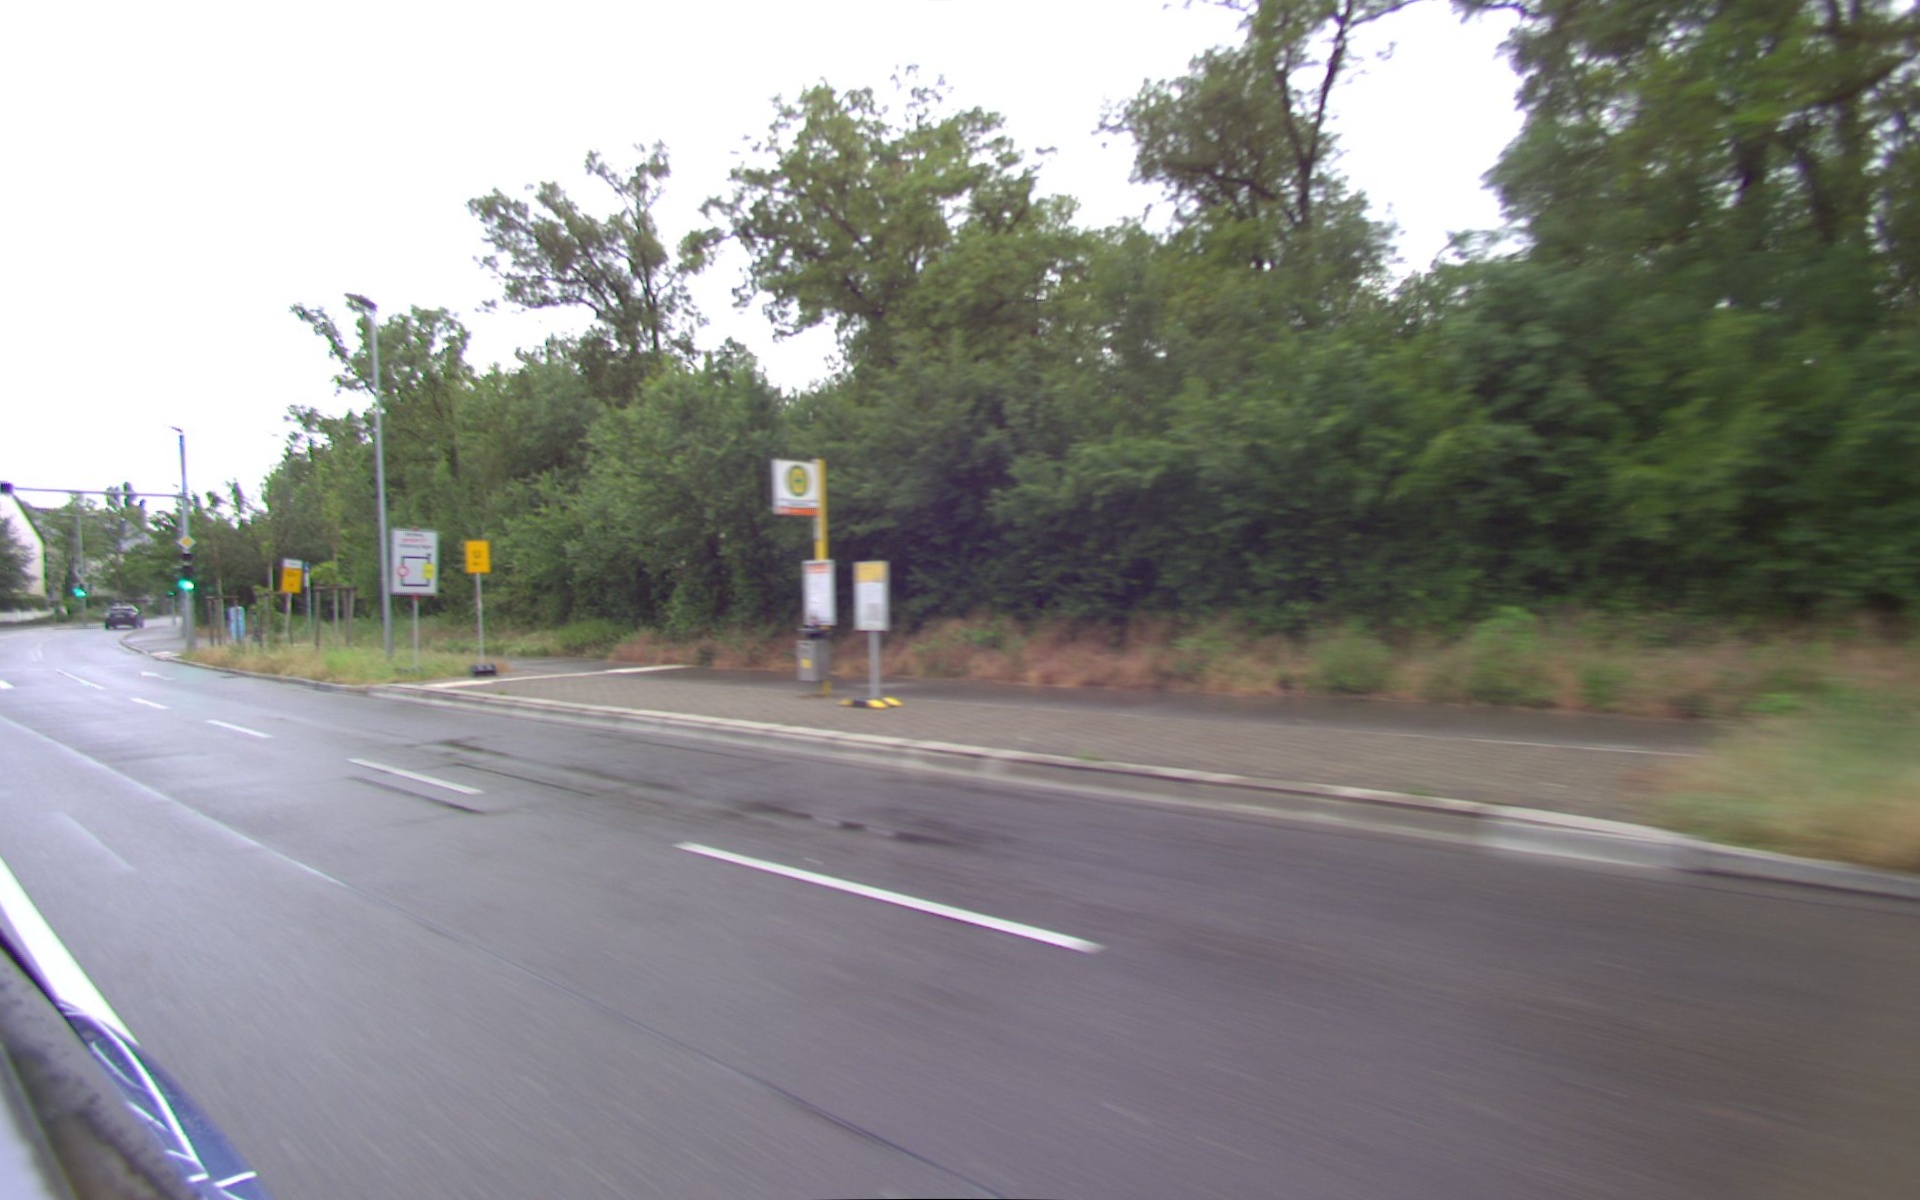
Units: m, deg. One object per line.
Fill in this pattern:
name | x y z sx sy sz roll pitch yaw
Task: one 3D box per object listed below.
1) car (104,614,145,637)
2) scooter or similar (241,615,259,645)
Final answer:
car | -59.823 1.804 72.505 1.765 1.593 4.574 -1 0 -33
scooter or similar | -30.066 1.269 42.846 0.511 1.221 1.472 -2 1 -39
